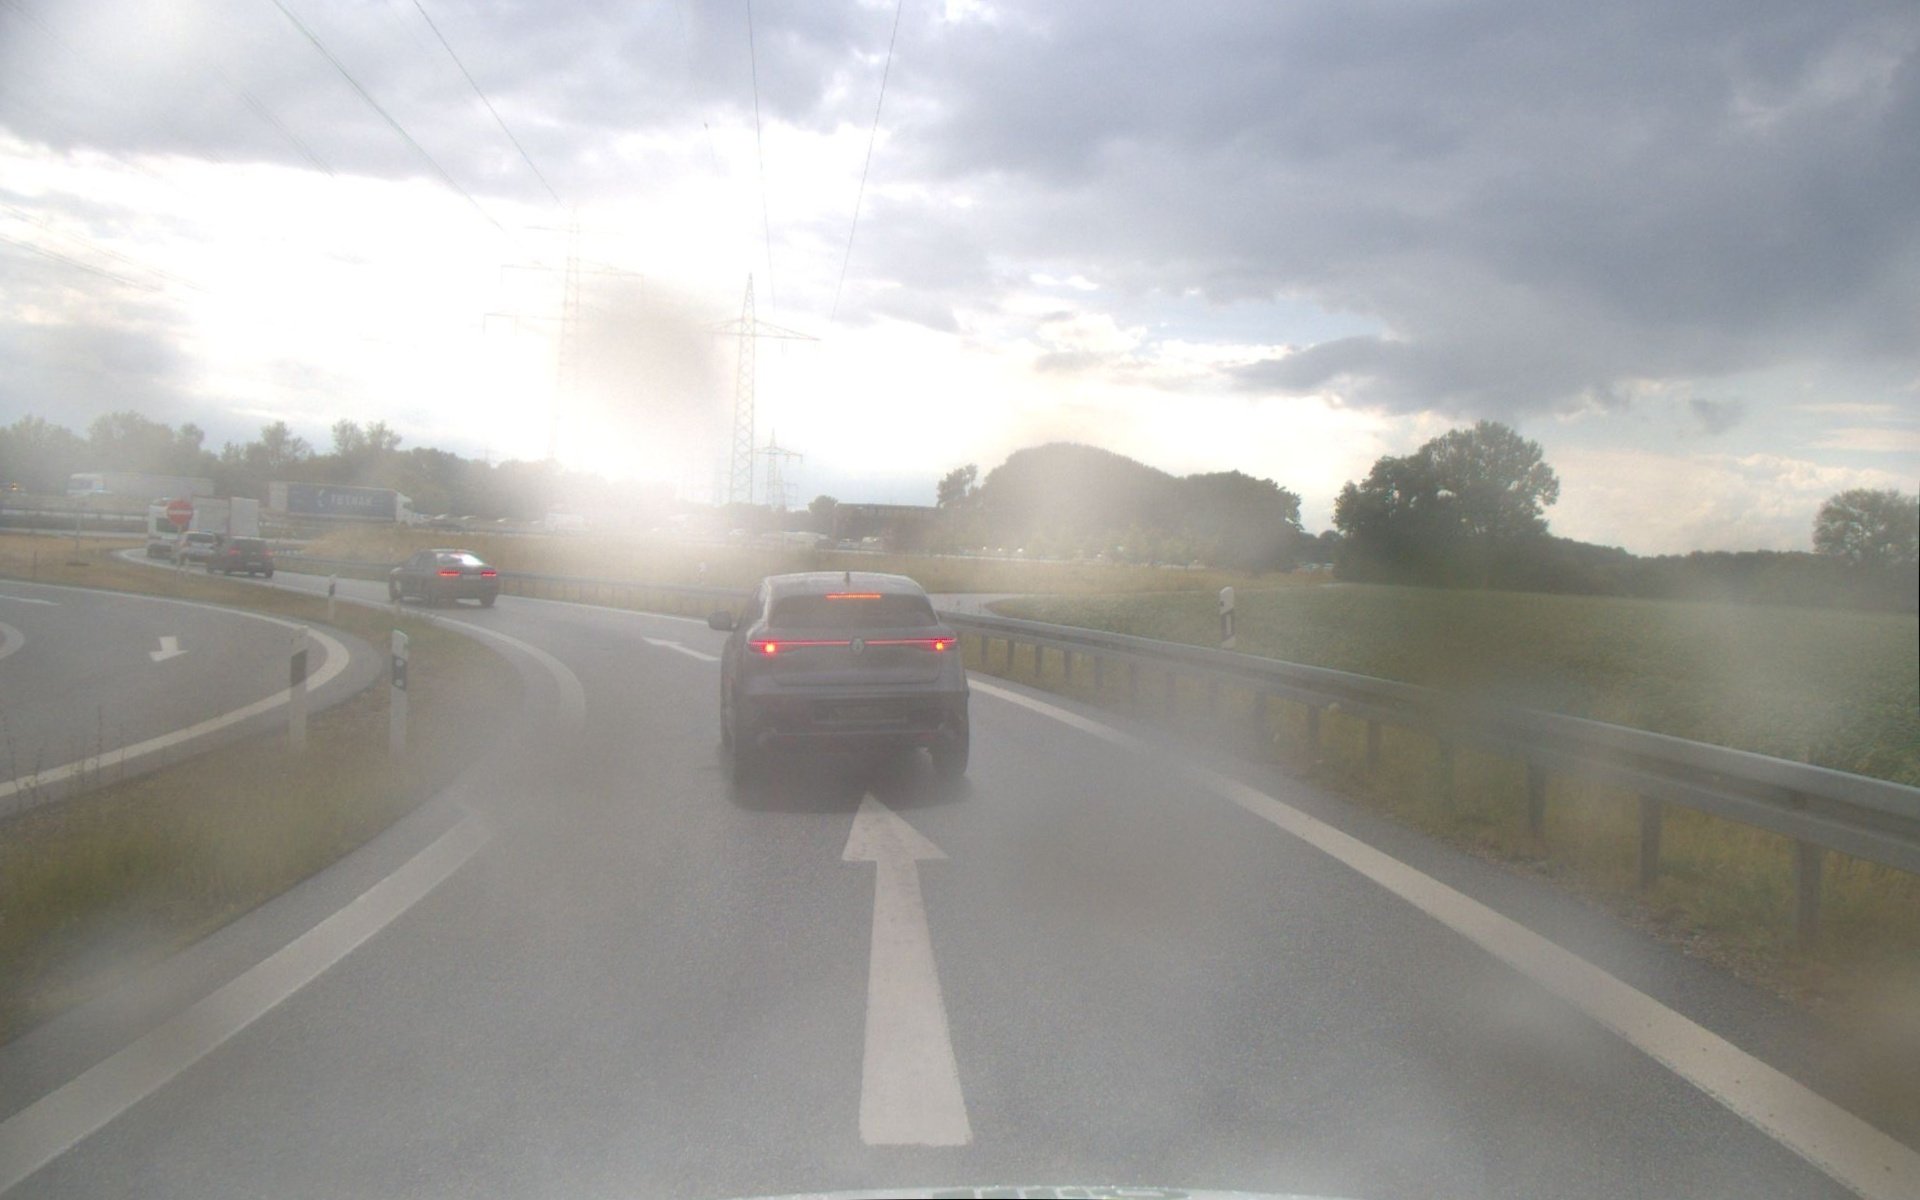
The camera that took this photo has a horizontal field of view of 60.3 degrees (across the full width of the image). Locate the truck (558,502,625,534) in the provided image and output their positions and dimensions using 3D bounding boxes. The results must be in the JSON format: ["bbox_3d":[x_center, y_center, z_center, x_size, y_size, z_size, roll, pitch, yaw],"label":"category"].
[{"bbox_3d":[-54.054,-11.998,242.943,1.955,4.194,12.483,3,1,27],"label":"truck"}]

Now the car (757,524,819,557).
[{"bbox_3d":[-21.056,-7.252,203.011,3.317,3.673,9.038,3,1,25],"label":"car"}]

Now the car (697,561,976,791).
[{"bbox_3d":[-1.067,0.492,13.767,1.955,1.593,4.144,-1,1,-6],"label":"car"}]

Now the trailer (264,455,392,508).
[{"bbox_3d":[-62.003,-11.552,162.773,2.989,4.714,13.291,4,4,26],"label":"trailer"}]

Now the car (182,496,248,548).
[{"bbox_3d":[-48.126,-5.108,107.024,3.088,3.001,7.174,2,4,-19],"label":"car"}]

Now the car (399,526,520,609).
[{"bbox_3d":[-14.333,-0.982,47.143,2.098,2.052,5.482,3,2,-29],"label":"car"}]

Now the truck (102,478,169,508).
[{"bbox_3d":[-89.690,-11.638,179.979,2.268,3.078,6.464,4,4,25],"label":"truck"}]

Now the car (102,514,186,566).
[{"bbox_3d":[-41.821,-3.072,84.715,5.044,2.346,2.343,6,5,44],"label":"car"}]

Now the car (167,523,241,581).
[{"bbox_3d":[-34.482,-2.214,75.367,2.330,2.346,5.072,0,4,-33],"label":"car"}]

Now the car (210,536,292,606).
[{"bbox_3d":[-27.504,-1.166,64.032,2.327,2.346,5.079,1,4,-30],"label":"car"}]

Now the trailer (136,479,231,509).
[{"bbox_3d":[-86.995,-11.821,185.554,2.267,3.078,10.478,4,4,25],"label":"trailer"}]

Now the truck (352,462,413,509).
[{"bbox_3d":[-58.966,-11.690,168.951,3.010,4.556,5.067,4,4,27],"label":"truck"}]
